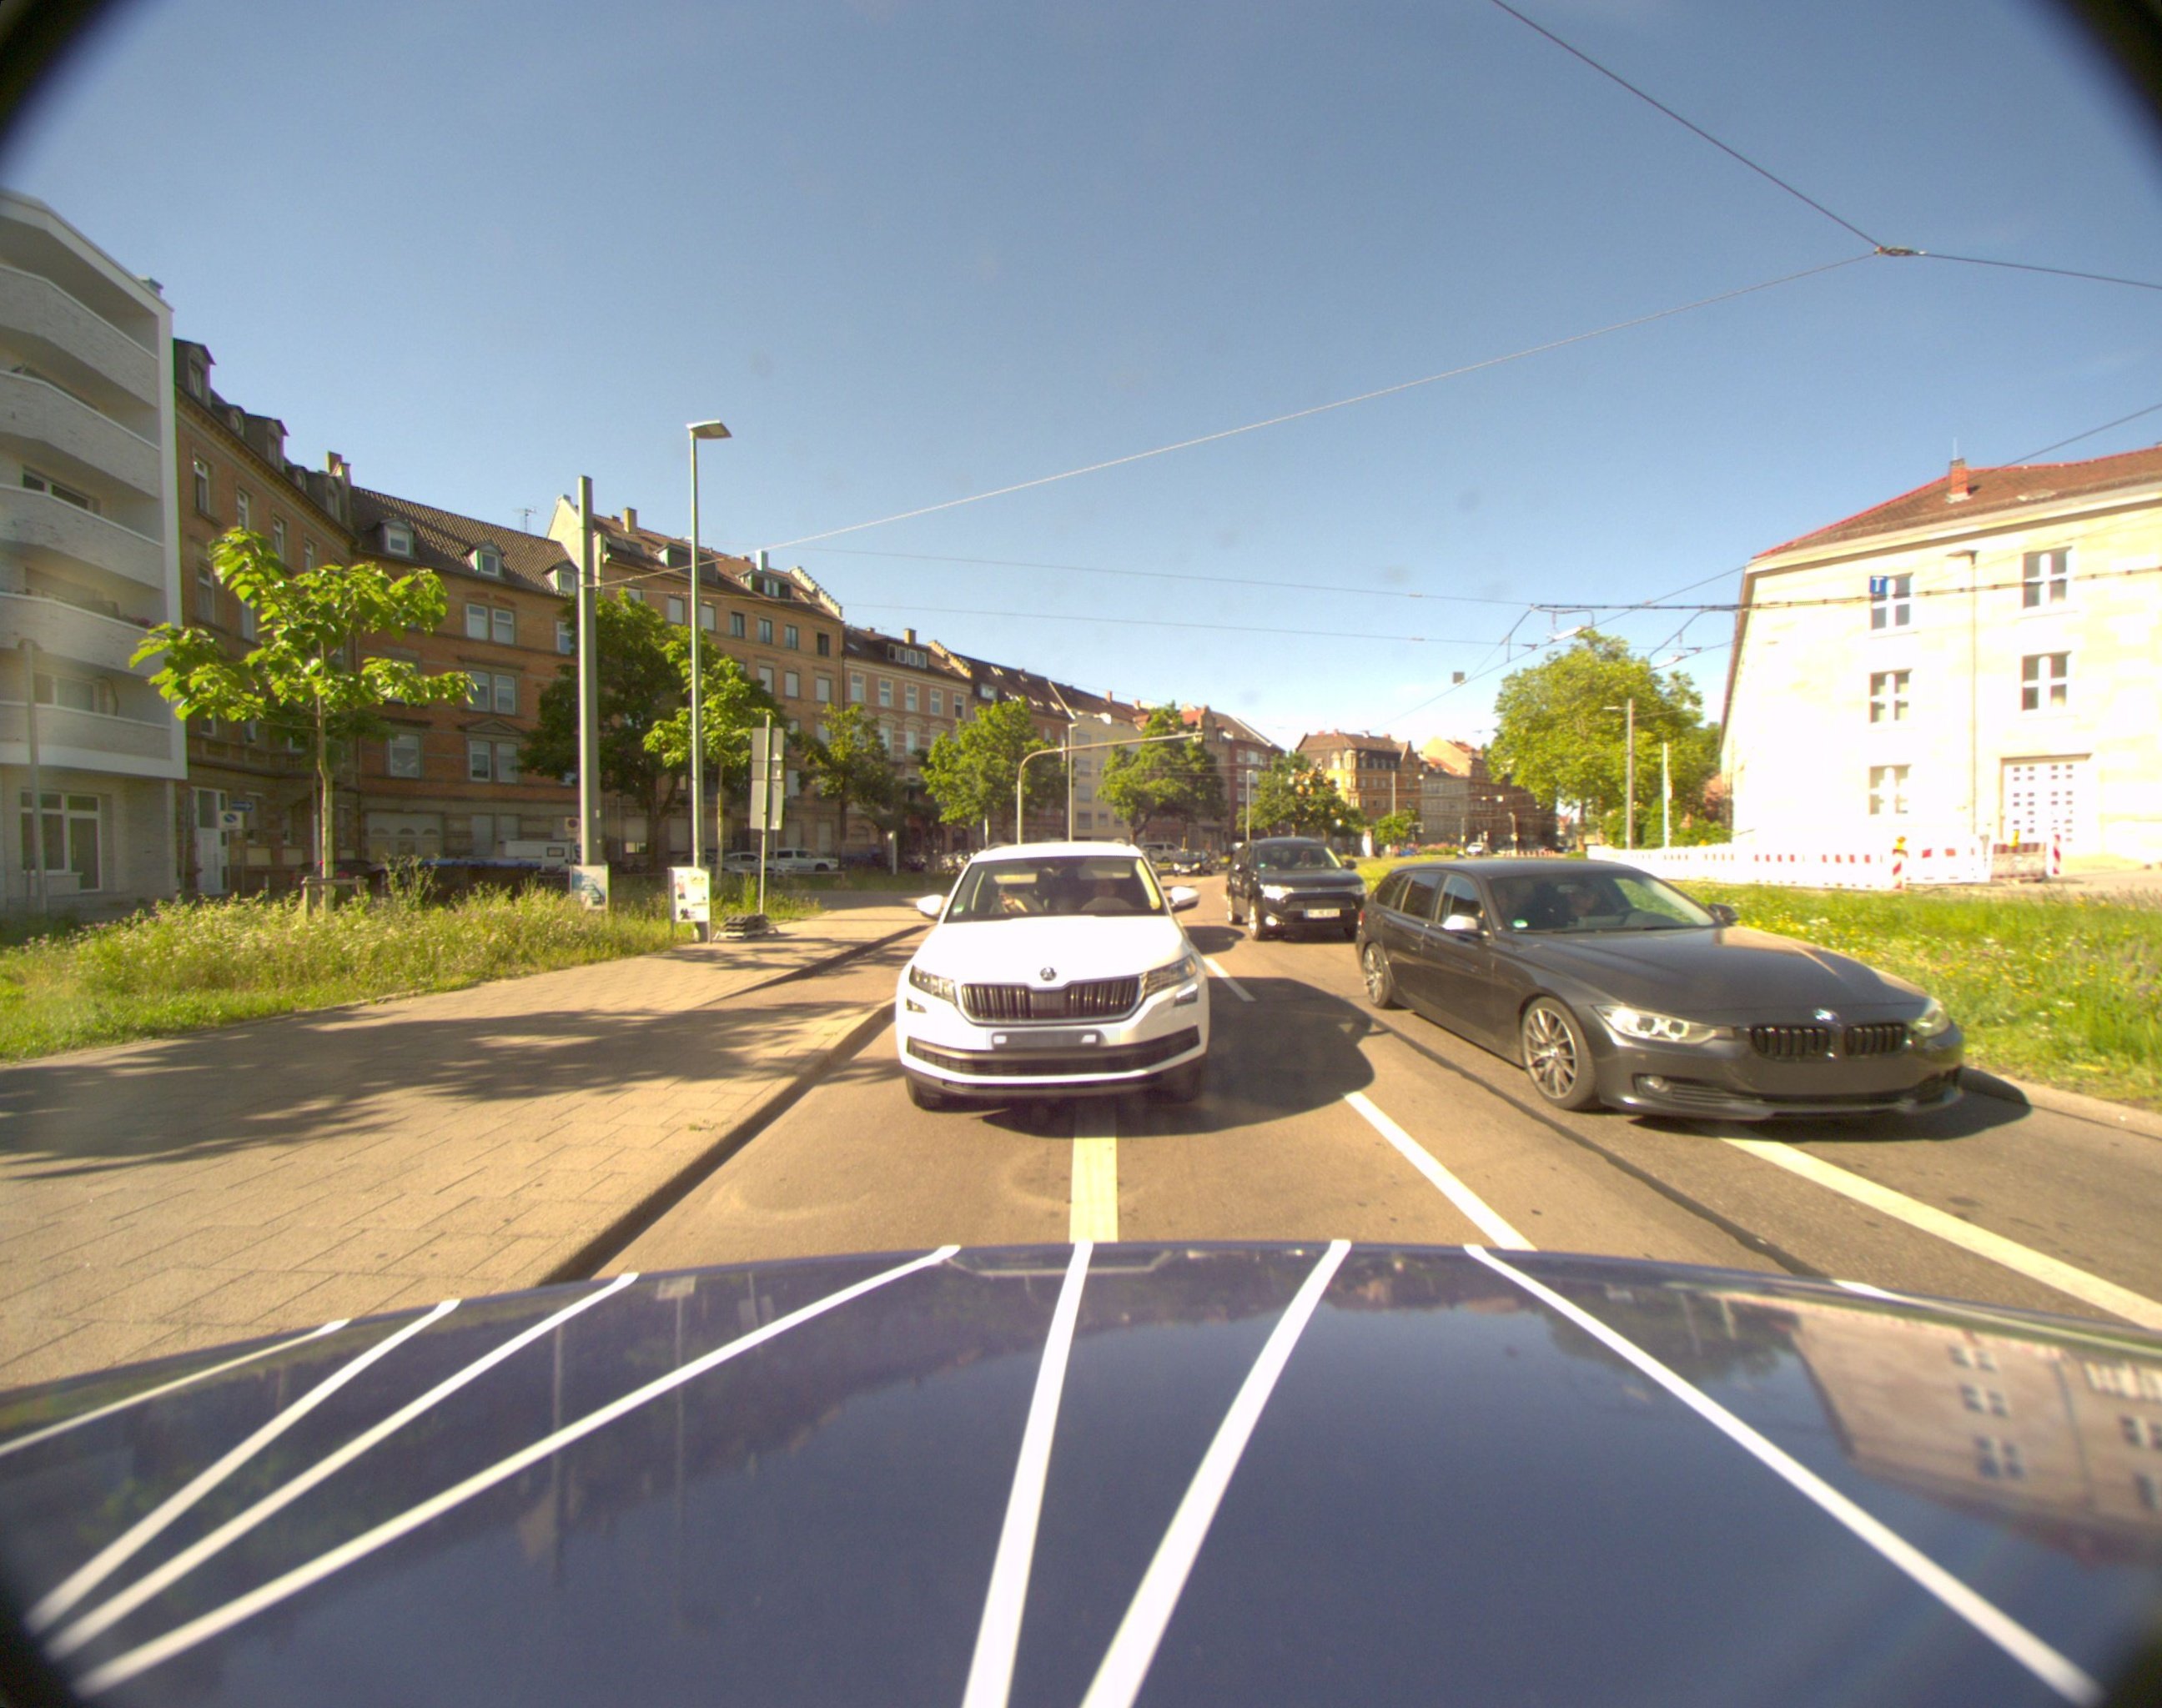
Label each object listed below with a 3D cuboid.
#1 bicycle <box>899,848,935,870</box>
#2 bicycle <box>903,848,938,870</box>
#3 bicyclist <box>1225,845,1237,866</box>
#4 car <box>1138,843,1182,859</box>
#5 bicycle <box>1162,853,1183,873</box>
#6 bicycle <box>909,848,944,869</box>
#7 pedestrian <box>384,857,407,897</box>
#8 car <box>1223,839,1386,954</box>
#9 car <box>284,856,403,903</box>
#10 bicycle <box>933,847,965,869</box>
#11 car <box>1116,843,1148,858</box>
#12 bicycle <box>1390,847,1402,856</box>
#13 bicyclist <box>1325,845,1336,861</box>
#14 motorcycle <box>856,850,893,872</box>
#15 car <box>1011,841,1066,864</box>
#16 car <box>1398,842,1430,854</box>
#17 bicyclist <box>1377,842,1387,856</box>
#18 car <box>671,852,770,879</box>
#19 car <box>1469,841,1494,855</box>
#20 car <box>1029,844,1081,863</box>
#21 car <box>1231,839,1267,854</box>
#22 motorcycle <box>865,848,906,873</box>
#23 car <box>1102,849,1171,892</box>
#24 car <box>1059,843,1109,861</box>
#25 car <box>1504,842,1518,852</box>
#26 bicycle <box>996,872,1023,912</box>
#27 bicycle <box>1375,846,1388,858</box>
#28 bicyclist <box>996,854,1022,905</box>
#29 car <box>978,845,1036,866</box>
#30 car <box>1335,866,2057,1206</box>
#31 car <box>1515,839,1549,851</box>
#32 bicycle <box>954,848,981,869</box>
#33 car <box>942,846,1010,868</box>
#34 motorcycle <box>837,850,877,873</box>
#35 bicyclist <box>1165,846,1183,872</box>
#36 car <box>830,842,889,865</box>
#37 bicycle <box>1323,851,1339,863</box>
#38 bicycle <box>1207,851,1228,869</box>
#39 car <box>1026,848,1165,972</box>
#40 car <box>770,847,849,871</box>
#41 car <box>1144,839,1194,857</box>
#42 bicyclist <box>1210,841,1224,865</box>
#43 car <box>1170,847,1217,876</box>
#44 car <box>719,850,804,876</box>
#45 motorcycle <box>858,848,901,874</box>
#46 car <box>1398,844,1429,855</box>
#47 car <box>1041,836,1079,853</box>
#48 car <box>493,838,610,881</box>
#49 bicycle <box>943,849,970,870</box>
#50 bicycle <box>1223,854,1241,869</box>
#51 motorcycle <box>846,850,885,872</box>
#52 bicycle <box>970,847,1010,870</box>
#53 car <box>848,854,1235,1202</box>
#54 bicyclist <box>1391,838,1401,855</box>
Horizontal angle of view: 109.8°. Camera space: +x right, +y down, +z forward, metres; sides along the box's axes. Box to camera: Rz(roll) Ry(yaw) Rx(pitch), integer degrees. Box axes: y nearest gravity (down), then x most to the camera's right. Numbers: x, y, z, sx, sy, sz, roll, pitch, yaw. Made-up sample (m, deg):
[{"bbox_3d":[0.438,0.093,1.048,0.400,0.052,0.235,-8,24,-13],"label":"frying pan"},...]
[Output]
[{"bbox_3d":[-9.743,0.308,45.068,2.198,1.260,0.664,-2,1,30],"label":"bicycle"},{"bbox_3d":[-9.707,0.297,46.006,2.198,1.260,0.664,-2,1,32],"label":"bicycle"},{"bbox_3d":[11.990,0.132,60.594,0.629,1.619,0.973,0,1,33],"label":"bicyclist"},{"bbox_3d":[7.126,-0.249,68.176,3.823,1.372,1.600,0,1,9],"label":"car"},{"bbox_3d":[6.155,0.608,50.918,0.714,1.319,1.752,1,1,32],"label":"bicycle"},{"bbox_3d":[-9.511,0.281,46.709,2.198,1.260,0.664,-2,1,32],"label":"bicycle"},{"bbox_3d":[-25.084,0.831,27.802,0.509,1.448,0.481,-3,2,-38],"label":"pedestrian"},{"bbox_3d":[3.696,0.624,13.395,1.841,1.636,4.399,-2,0,5],"label":"car"},{"bbox_3d":[-26.169,0.833,27.145,1.835,1.419,4.378,-1,1,-27],"label":"car"},{"bbox_3d":[-7.730,0.242,44.515,0.664,1.260,2.198,-3,1,-45],"label":"bicycle"},{"bbox_3d":[5.468,-0.421,80.725,1.547,1.578,3.607,1,2,41],"label":"car"},{"bbox_3d":[39.524,-0.298,95.356,0.762,1.138,2.287,0,1,40],"label":"bicycle"},{"bbox_3d":[25.453,-0.057,77.510,0.667,1.619,0.973,0,1,44],"label":"bicyclist"},{"bbox_3d":[-12.603,0.404,46.402,2.199,1.260,0.664,-2,1,24],"label":"motorcycle"},{"bbox_3d":[-3.108,-0.135,56.101,3.825,1.698,1.682,0,1,3],"label":"car"},{"bbox_3d":[52.154,-0.905,118.907,4.336,1.871,1.844,1,2,35],"label":"car"},{"bbox_3d":[35.434,-0.588,89.475,0.734,1.685,0.973,0,1,44],"label":"bicyclist"},{"bbox_3d":[-17.500,0.536,36.904,4.156,1.244,1.683,0,1,13],"label":"car"},{"bbox_3d":[59.035,-0.897,111.896,1.977,2.074,4.723,1,2,44],"label":"car"},{"bbox_3d":[-1.973,-0.052,58.730,3.823,1.398,1.600,0,1,6],"label":"car"},{"bbox_3d":[18.694,-0.822,84.656,3.823,1.581,1.600,0,1,6],"label":"car"},{"bbox_3d":[-11.149,0.359,43.291,2.200,1.315,0.664,-2,1,18],"label":"motorcycle"},{"bbox_3d":[2.327,0.598,30.561,1.837,1.543,4.153,0,1,18],"label":"car"},{"bbox_3d":[0.260,-0.159,61.162,3.823,1.398,1.600,0,1,6],"label":"car"},{"bbox_3d":[70.493,-1.146,124.535,1.836,1.464,4.722,1,1,31],"label":"car"},{"bbox_3d":[-2.087,1.084,22.331,0.669,1.066,1.819,-1,1,-2],"label":"bicycle"},{"bbox_3d":[35.381,-0.286,89.453,0.735,1.353,2.079,0,1,44],"label":"bicycle"},{"bbox_3d":[-2.096,0.735,22.188,0.669,1.428,0.940,-1,1,-2],"label":"bicyclist"},{"bbox_3d":[-5.227,0.088,53.962,3.822,1.398,1.683,0,1,9],"label":"car"},{"bbox_3d":[3.477,0.848,5.591,1.741,1.359,4.426,-2,0,1],"label":"car"},{"bbox_3d":[63.987,-1.287,107.813,4.058,1.647,1.770,1,2,34],"label":"car"},{"bbox_3d":[-7.123,0.310,47.751,0.664,1.260,2.199,-3,1,-36],"label":"bicycle"},{"bbox_3d":[-7.043,0.177,51.293,4.322,1.398,1.682,0,1,3],"label":"car"},{"bbox_3d":[-13.290,0.441,45.017,2.314,1.270,0.664,-2,1,24],"label":"motorcycle"},{"bbox_3d":[6.234,0.321,50.971,0.714,1.715,1.096,1,1,33],"label":"bicyclist"},{"bbox_3d":[-15.611,-0.053,53.668,1.547,1.578,3.709,1,2,41],"label":"car"},{"bbox_3d":[25.531,0.344,77.583,0.667,1.190,2.159,0,1,43],"label":"bicycle"},{"bbox_3d":[10.481,0.477,58.307,0.757,1.293,2.158,0,2,33],"label":"bicycle"},{"bbox_3d":[0.234,0.761,12.605,1.842,1.636,4.397,-2,0,1],"label":"car"},{"bbox_3d":[-14.681,0.258,41.192,3.700,1.244,1.540,0,1,2],"label":"car"},{"bbox_3d":[8.197,-0.589,70.606,4.578,1.658,1.600,0,1,7],"label":"car"},{"bbox_3d":[10.461,-0.076,58.255,0.808,1.855,0.751,0,3,32],"label":"bicyclist"},{"bbox_3d":[6.882,0.424,45.975,1.836,1.637,4.154,0,1,23],"label":"car"},{"bbox_3d":[-16.408,0.443,39.103,3.696,1.244,1.683,0,1,13],"label":"car"},{"bbox_3d":[-11.179,0.377,42.204,2.200,1.322,0.663,-2,1,13],"label":"motorcycle"},{"bbox_3d":[51.166,-0.740,117.027,4.058,1.647,1.770,1,2,36],"label":"car"},{"bbox_3d":[-1.940,-0.940,71.663,1.547,1.578,3.607,1,2,41],"label":"car"},{"bbox_3d":[-27.118,0.221,39.007,2.047,2.026,4.510,1,2,41],"label":"car"},{"bbox_3d":[-7.686,0.342,46.757,0.664,1.260,2.199,-3,1,-36],"label":"bicycle"},{"bbox_3d":[12.104,0.584,60.744,0.636,1.190,2.158,0,1,32],"label":"bicycle"},{"bbox_3d":[-12.941,0.418,45.622,2.314,1.276,0.664,-2,1,24],"label":"motorcycle"},{"bbox_3d":[-5.476,0.269,45.736,2.207,1.260,0.662,-3,1,-25],"label":"bicycle"},{"bbox_3d":[-0.229,0.853,5.947,1.842,1.636,4.397,-2,0,-1],"label":"car"},{"bbox_3d":[39.536,-0.952,95.324,0.847,2.002,1.199,0,1,41],"label":"bicyclist"}]
